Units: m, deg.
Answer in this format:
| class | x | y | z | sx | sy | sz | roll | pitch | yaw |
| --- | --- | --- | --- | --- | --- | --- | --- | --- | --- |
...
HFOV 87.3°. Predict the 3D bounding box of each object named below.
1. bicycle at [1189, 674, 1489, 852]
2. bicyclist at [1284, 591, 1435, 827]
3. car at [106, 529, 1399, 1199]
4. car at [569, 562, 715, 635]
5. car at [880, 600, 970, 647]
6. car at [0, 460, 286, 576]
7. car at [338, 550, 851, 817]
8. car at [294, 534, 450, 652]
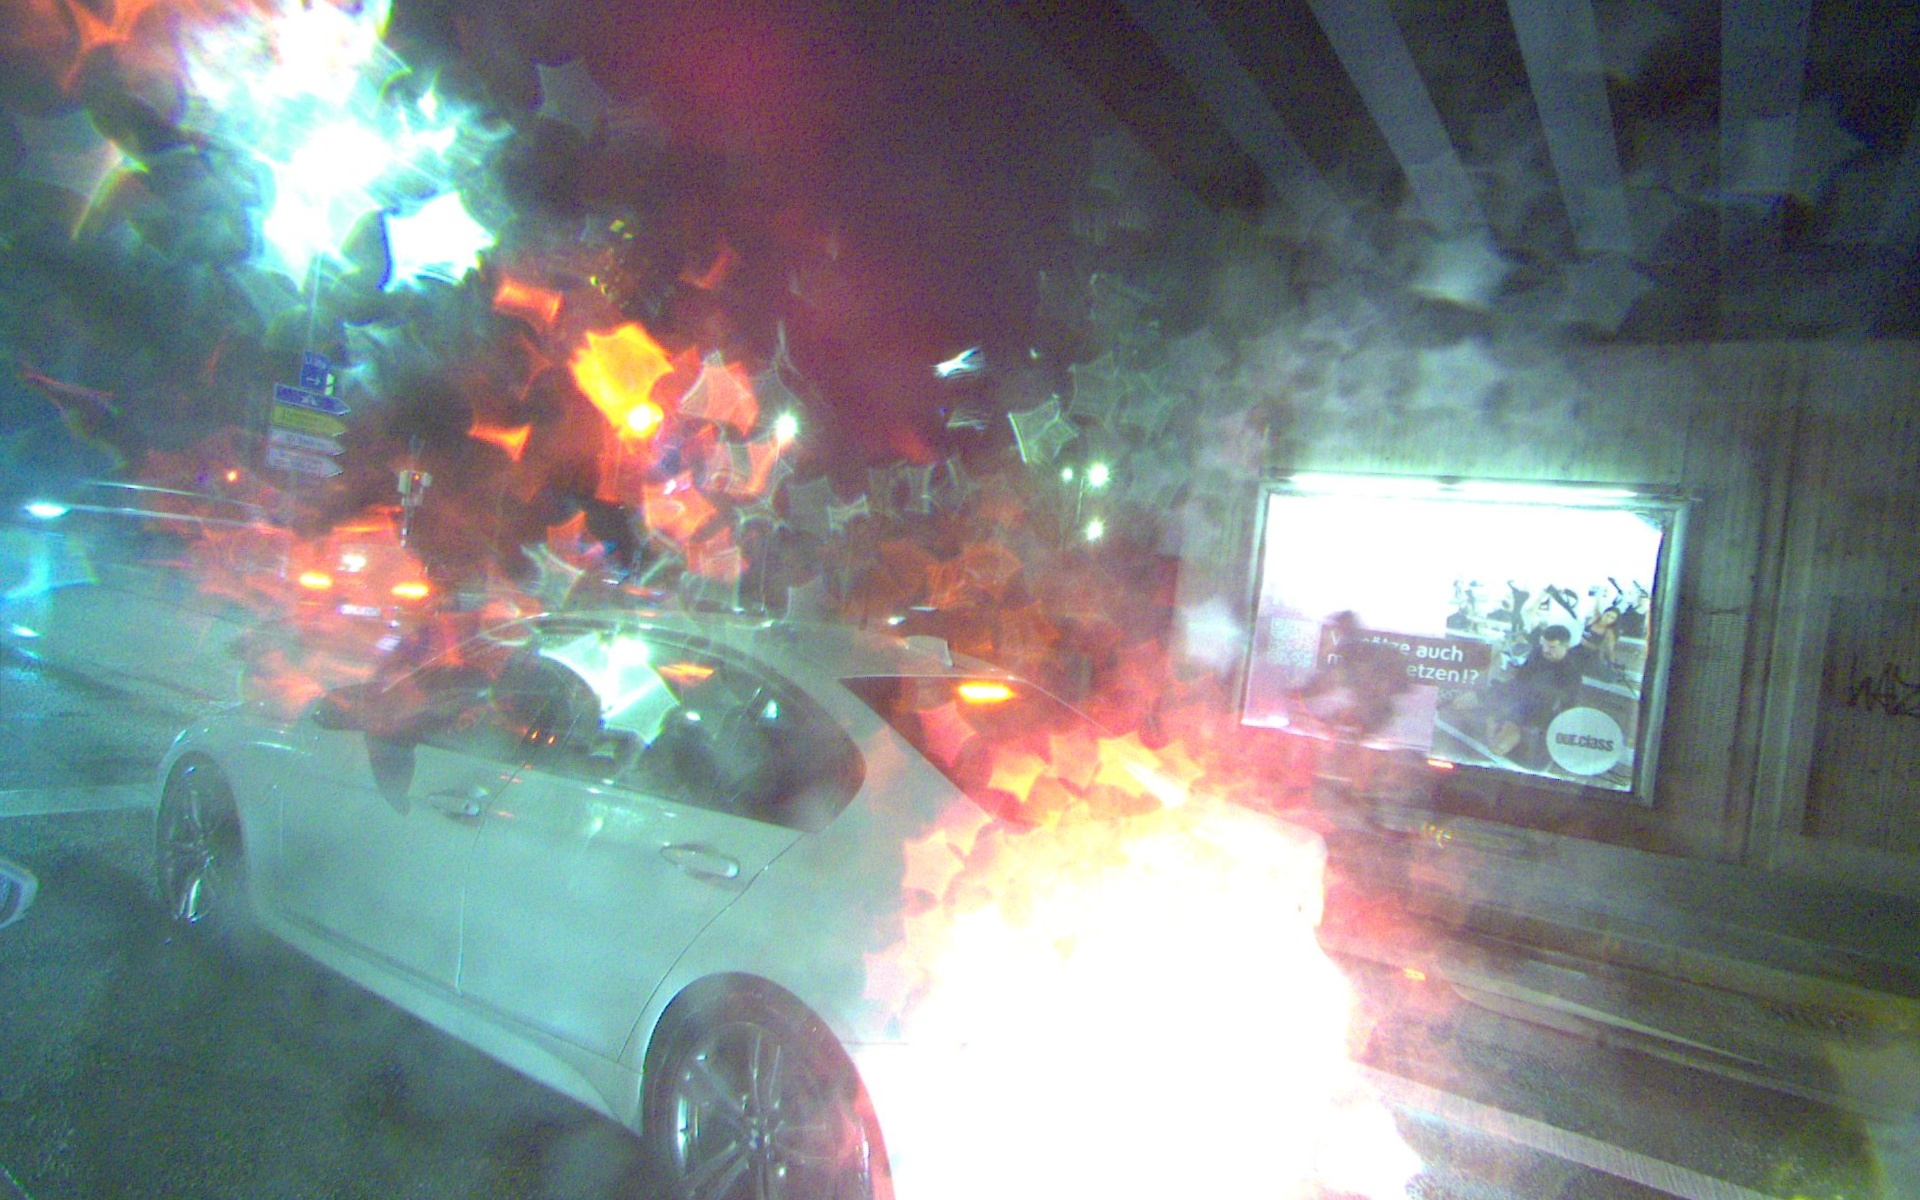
| class | x | y | z | sx | sy | sz | roll | pitch | yaw |
| --- | --- | --- | --- | --- | --- | --- | --- | --- | --- |
| bicycle | 3.174 | 1.315 | 8.509 | 2.171 | 1.070 | 0.798 | 6 | -2 | 32 |
| bicyclist | 3.364 | 0.893 | 8.448 | 0.886 | 1.783 | 0.798 | 6 | -1 | 31 |
| car | -0.970 | 0.713 | 3.502 | 4.277 | 1.420 | 1.720 | 6 | -2 | 32 |
| car | -8.365 | 0.014 | 26.765 | 1.609 | 1.475 | 3.595 | 7 | -2 | 23 |
| car | -1.881 | 1.333 | 55.427 | 1.970 | 2.009 | 5.091 | 7 | -1 | 38 |
| car | -19.860 | -1.913 | 24.626 | 1.967 | 2.009 | 5.100 | 7 | -1 | 32 |
| car | -2.975 | 0.566 | 8.117 | 3.695 | 1.448 | 1.754 | 6 | -1 | 28 |
| car | -9.231 | -0.171 | 16.080 | 1.738 | 1.406 | 4.535 | 9 | -2 | -28 |
